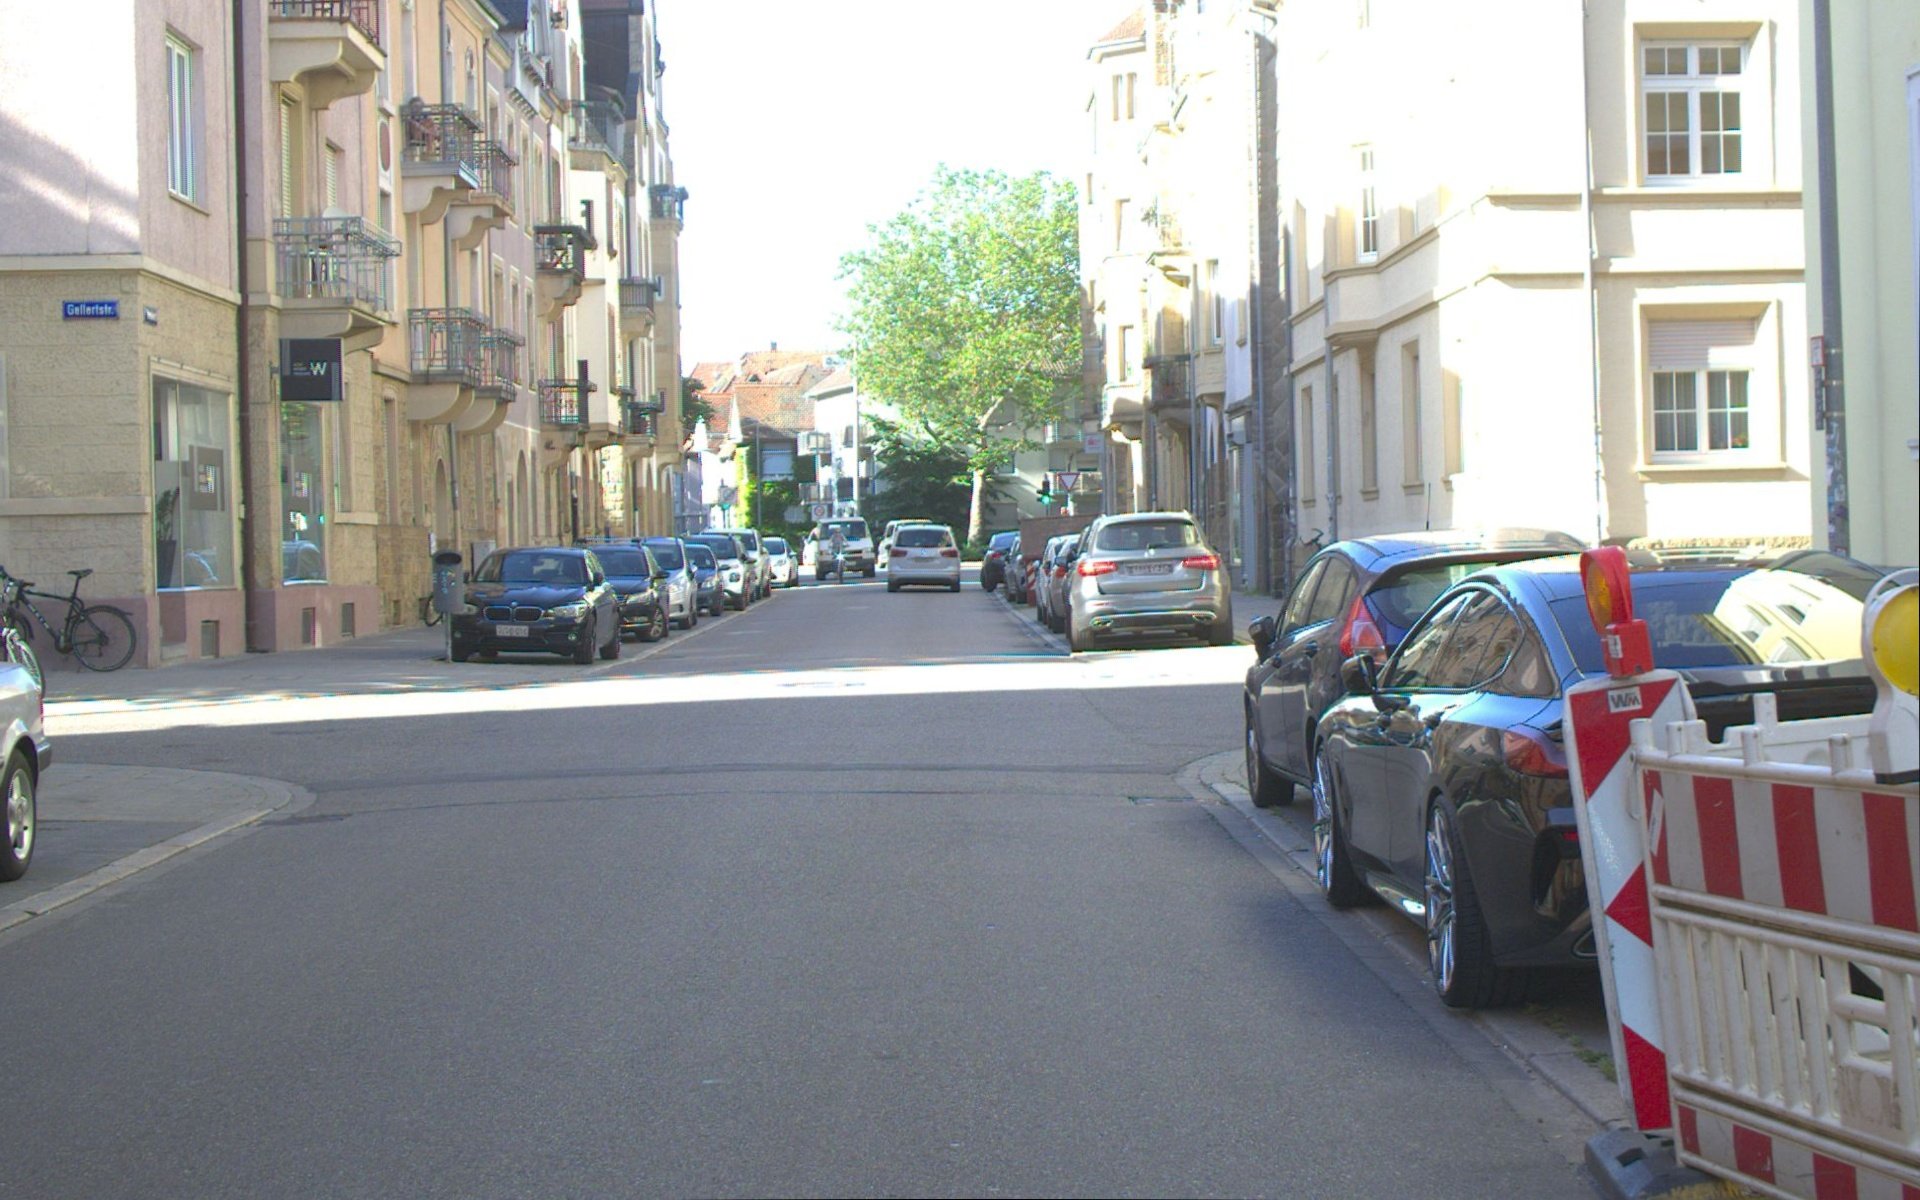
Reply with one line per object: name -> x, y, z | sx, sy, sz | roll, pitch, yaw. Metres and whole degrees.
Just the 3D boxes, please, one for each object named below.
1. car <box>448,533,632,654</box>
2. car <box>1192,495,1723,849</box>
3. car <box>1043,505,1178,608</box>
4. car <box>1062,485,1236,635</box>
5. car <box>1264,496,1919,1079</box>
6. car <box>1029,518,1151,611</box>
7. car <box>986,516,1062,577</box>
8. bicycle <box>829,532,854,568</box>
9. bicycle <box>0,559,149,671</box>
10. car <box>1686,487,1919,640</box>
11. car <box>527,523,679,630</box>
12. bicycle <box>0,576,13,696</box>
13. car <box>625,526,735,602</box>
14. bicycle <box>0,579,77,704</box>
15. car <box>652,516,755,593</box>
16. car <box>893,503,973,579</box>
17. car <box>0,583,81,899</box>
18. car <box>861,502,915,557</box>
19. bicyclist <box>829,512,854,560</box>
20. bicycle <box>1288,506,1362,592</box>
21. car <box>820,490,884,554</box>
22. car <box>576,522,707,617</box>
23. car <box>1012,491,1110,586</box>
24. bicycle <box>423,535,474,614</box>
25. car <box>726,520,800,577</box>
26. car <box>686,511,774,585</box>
car -> -5.147, -0.094, 42.597 | 1.679, 1.421, 4.274 | 0, 1, 1
car -> 2.392, 0.279, 17.579 | 1.762, 1.465, 4.085 | -4, 2, -4
car -> 2.281, -0.640, 53.032 | 1.838, 1.426, 4.029 | -3, 0, 0
car -> 2.269, -0.464, 42.343 | 1.913, 1.639, 4.773 | -3, 0, 2
car -> 2.295, 0.440, 11.926 | 1.801, 1.465, 5.112 | -4, 2, -1
car -> 2.169, -0.584, 58.422 | 1.838, 1.426, 4.029 | -3, 0, 0
car -> 1.645, -1.382, 90.040 | 1.838, 1.426, 4.029 | -3, 0, 0
bicycle -> -3.533, -1.495, 102.789 | 0.662, 1.015, 2.066 | -4, 1, -2
bicycle -> -9.695, 0.162, 36.792 | 1.898, 1.131, 0.648 | -1, 3, -8
car -> 9.975, -0.404, 35.293 | 4.536, 1.463, 1.829 | -2, -1, -7
car -> -5.459, -0.376, 53.083 | 2.003, 1.577, 4.488 | 0, 1, -2
bicycle -> -10.151, 0.375, 33.041 | 1.898, 1.131, 0.526 | -2, 3, 1
car -> -5.611, -0.724, 69.353 | 1.978, 1.477, 4.328 | 0, 1, -2
bicycle -> -9.340, 0.396, 32.282 | 1.898, 1.131, 0.648 | -1, 3, 1
car -> -5.489, -0.970, 74.071 | 2.003, 1.613, 4.488 | 0, 1, -2
car -> -0.710, -1.493, 88.339 | 2.003, 1.907, 4.487 | 0, 1, -1
car -> -5.139, 0.678, 14.349 | 1.762, 1.373, 4.478 | -1, 1, 0
car -> -2.728, -2.627, 129.139 | 2.003, 1.993, 4.488 | 0, 1, -2
bicyclist -> -3.548, -1.920, 102.804 | 0.662, 1.381, 0.754 | -4, 1, -2
bicycle -> 5.480, -0.780, 51.731 | 0.761, 1.242, 2.592 | -2, 1, -1
car -> -3.491, -2.499, 111.252 | 2.003, 1.993, 4.488 | 0, 1, -2
car -> -5.572, -0.542, 60.559 | 2.003, 1.613, 4.488 | 0, 1, -2
car -> 2.069, -1.251, 71.215 | 1.838, 1.781, 4.029 | -2, 0, 0
bicycle -> -8.677, -0.447, 58.378 | 0.541, 1.297, 1.867 | -1, 1, 0
car -> -5.708, -1.490, 100.102 | 2.003, 1.600, 4.488 | 0, 1, -2
car -> -5.711, -1.281, 85.718 | 2.003, 1.782, 4.488 | 0, 1, -2
